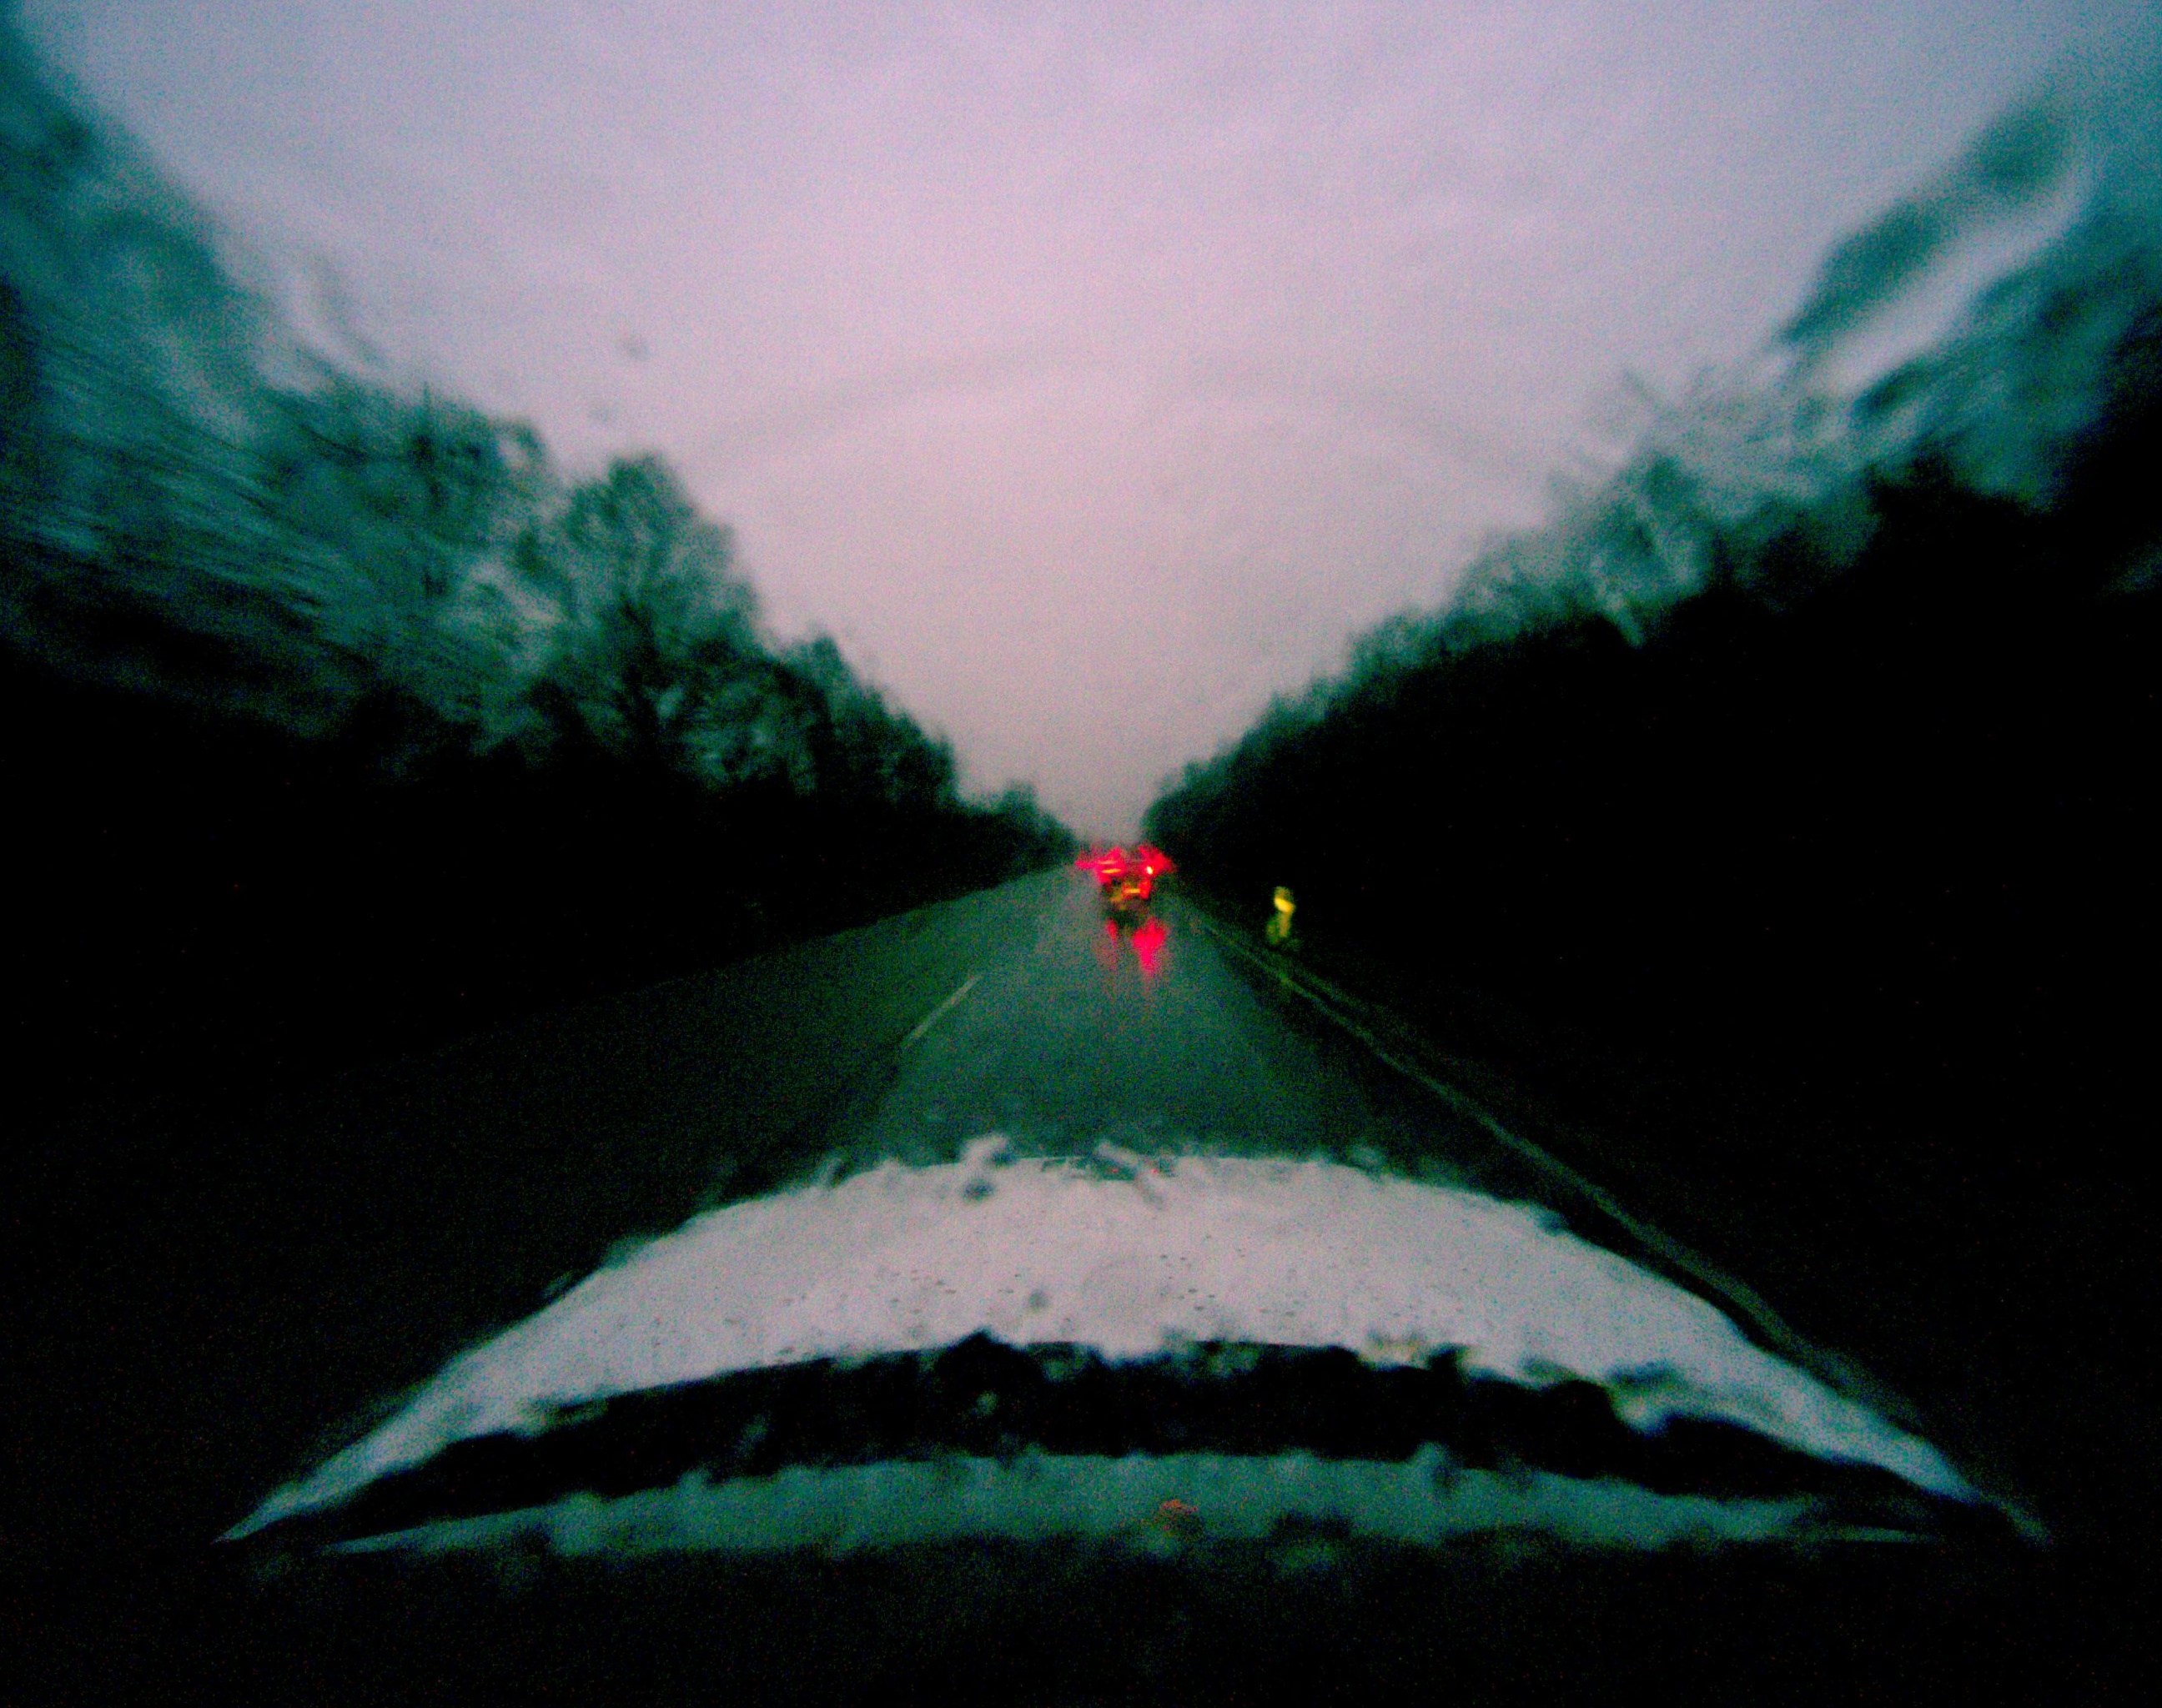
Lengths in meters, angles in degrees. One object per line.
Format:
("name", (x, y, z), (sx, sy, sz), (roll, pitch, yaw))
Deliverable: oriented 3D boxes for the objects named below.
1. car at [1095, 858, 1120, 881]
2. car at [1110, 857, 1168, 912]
("car", (1.972, 1.133, 60.430), (1.720, 1.643, 4.003), (0, -1, 3))
("car", (1.843, 0.932, 26.238), (1.720, 1.643, 4.003), (0, -1, 3))
